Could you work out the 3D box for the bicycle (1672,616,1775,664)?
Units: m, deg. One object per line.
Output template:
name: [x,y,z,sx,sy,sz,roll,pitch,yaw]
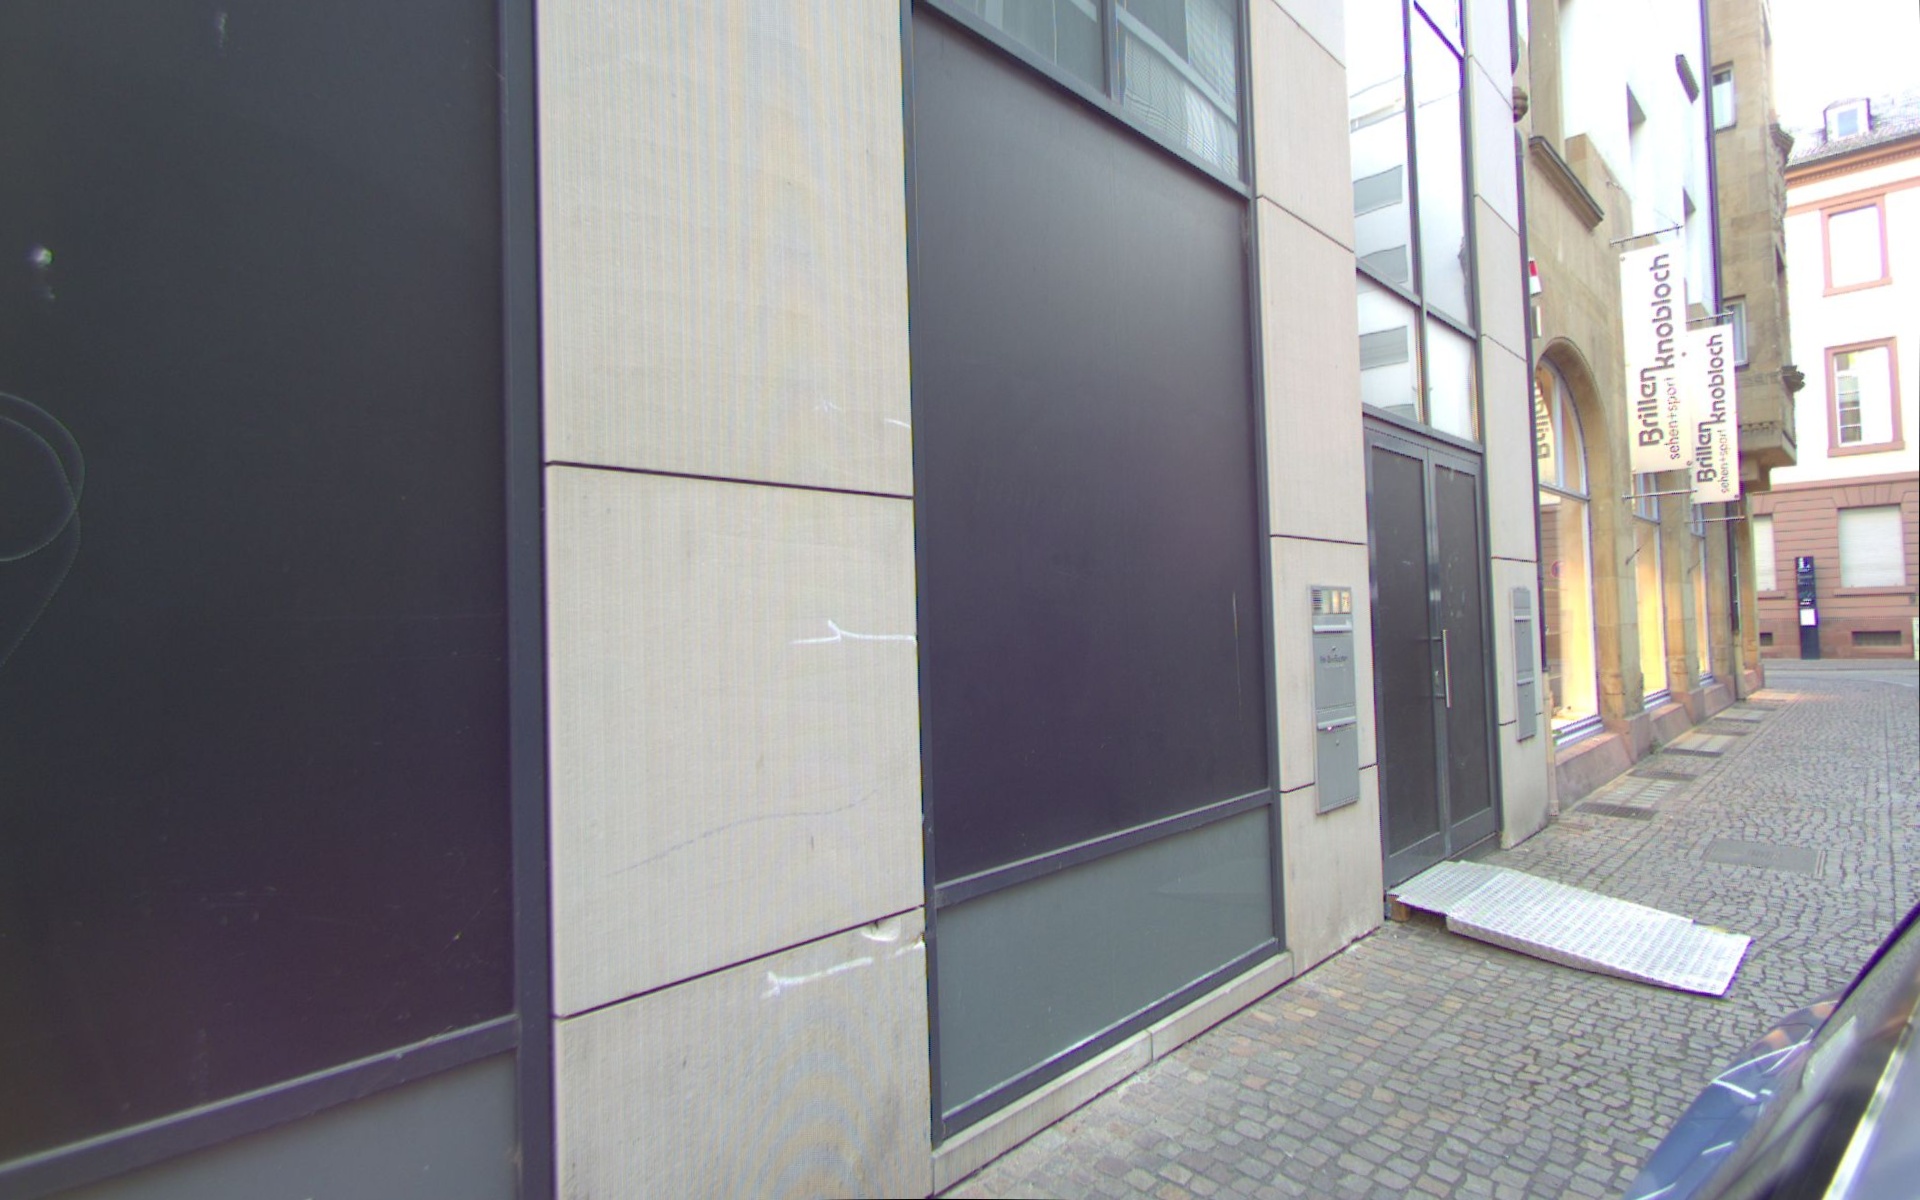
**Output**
bicycle: [19.511,1.024,25.893,0.568,1.164,1.975,0,-3,-44]
